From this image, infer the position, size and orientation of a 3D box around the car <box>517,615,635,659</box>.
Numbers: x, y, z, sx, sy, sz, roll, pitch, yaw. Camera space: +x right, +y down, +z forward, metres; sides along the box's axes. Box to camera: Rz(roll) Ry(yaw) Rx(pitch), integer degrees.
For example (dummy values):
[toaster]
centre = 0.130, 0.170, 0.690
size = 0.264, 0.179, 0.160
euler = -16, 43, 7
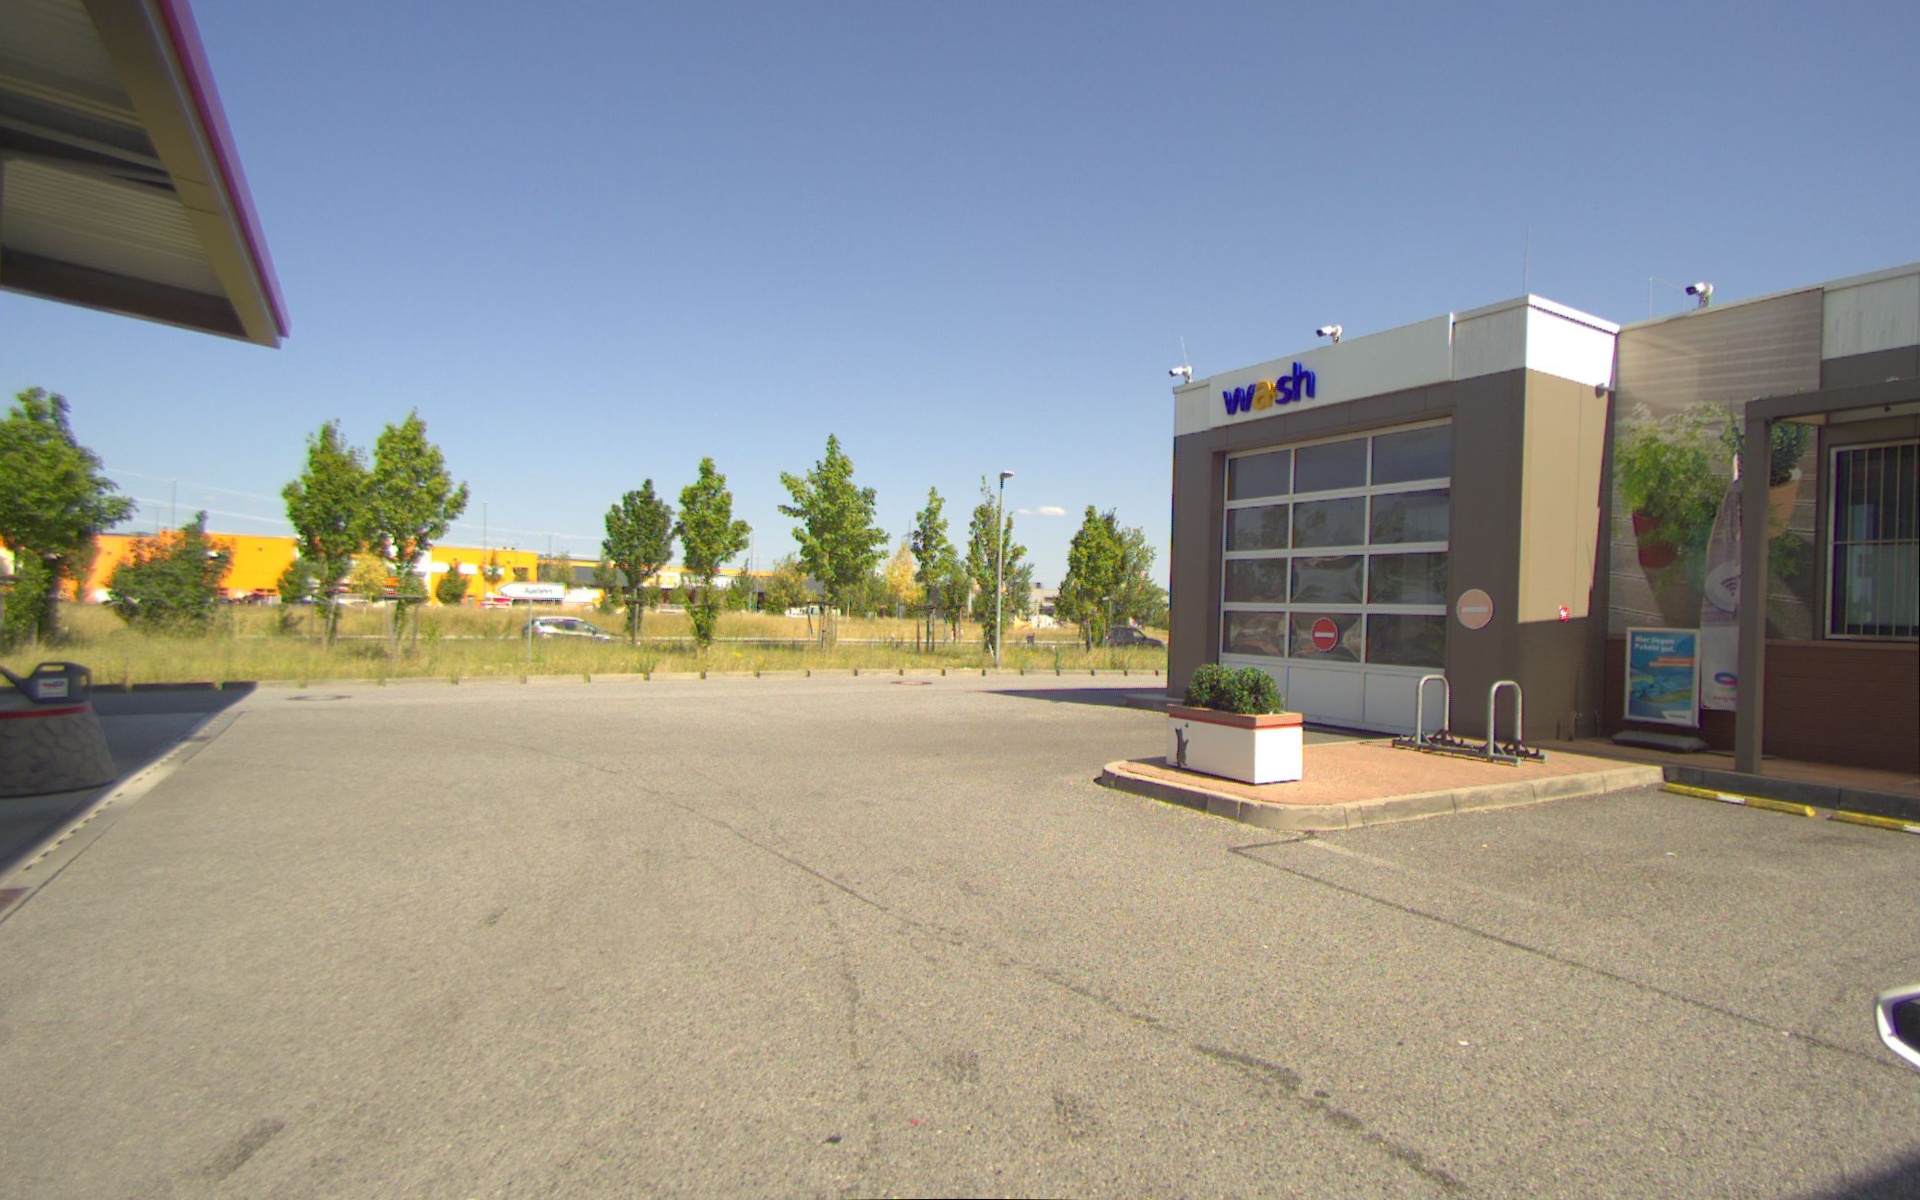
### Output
[car]
centre = -16.605, 1.591, 43.511
size = 4.529, 1.774, 1.775
euler = 1, -1, -31
